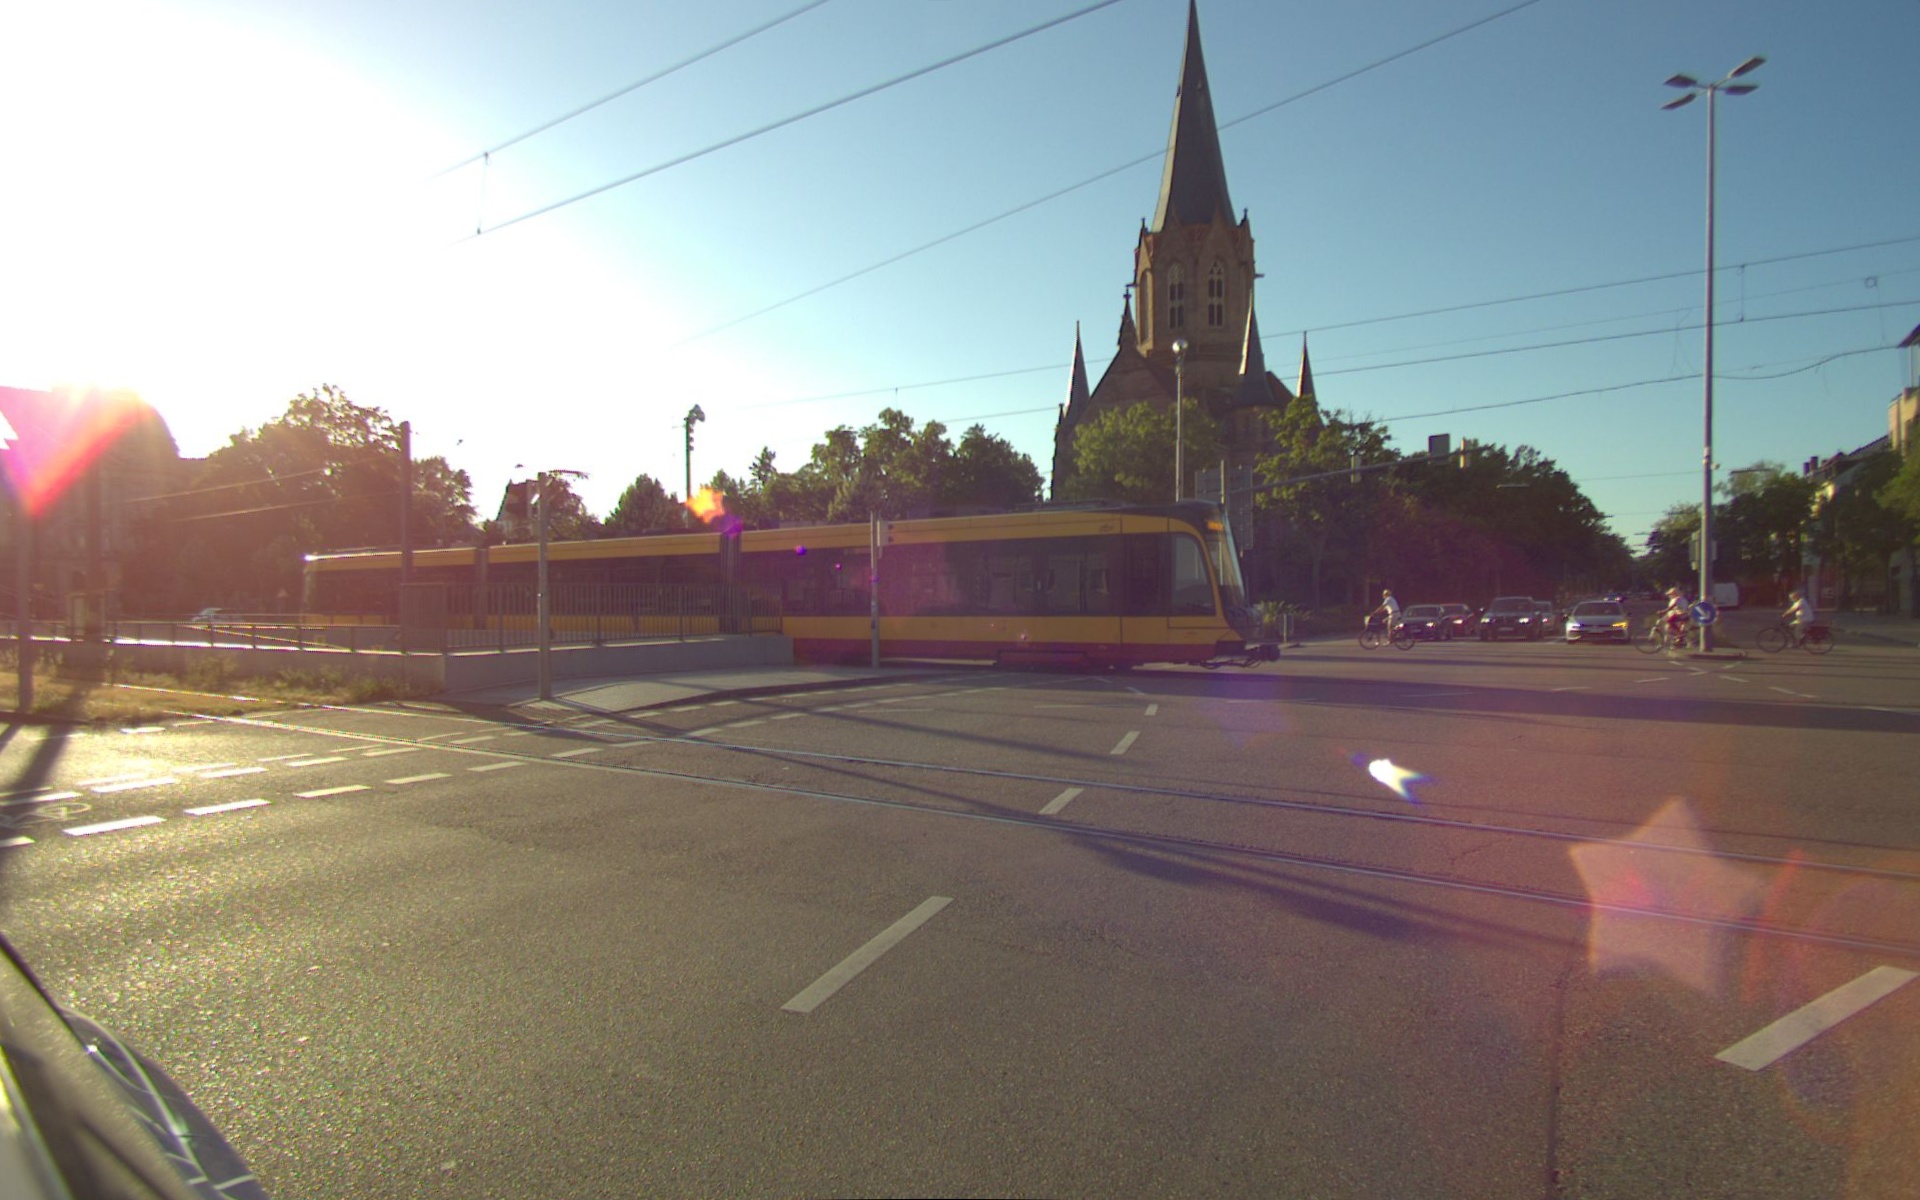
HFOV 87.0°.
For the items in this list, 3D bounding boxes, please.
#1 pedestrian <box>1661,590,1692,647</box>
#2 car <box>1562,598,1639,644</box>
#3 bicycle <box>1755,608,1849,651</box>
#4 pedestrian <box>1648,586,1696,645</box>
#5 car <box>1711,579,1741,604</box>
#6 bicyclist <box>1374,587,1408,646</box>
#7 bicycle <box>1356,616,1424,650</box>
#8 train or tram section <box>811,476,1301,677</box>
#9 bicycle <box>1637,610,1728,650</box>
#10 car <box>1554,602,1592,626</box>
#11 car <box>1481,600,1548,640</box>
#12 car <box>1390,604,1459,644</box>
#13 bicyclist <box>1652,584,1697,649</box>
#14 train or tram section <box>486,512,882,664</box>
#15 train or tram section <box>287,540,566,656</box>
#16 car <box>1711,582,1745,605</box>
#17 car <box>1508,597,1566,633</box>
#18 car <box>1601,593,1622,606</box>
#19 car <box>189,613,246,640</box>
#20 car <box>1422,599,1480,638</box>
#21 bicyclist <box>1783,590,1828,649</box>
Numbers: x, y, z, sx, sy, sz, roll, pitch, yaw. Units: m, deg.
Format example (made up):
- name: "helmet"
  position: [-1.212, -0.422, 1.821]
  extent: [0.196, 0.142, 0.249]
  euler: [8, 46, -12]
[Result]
- name: "pedestrian"
  position: [21.384, 0.549, 30.213]
  extent: [0.716, 1.685, 0.729]
  euler: [-1, 0, 37]
- name: "car"
  position: [22.022, 0.689, 34.729]
  extent: [1.899, 1.431, 3.950]
  euler: [-1, 0, 37]
- name: "bicycle"
  position: [23.265, 0.827, 27.999]
  extent: [1.911, 1.155, 0.455]
  euler: [-1, 1, 29]
- name: "pedestrian"
  position: [20.840, 0.456, 29.604]
  extent: [1.103, 1.685, 0.729]
  euler: [-1, 0, 37]
- name: "car"
  position: [72.804, -0.820, 96.202]
  extent: [1.995, 2.361, 3.953]
  euler: [-1, 0, 34]
- name: "bicyclist"
  position: [13.653, 0.528, 32.053]
  extent: [0.892, 1.841, 0.568]
  euler: [-1, 1, 34]
- name: "bicycle"
  position: [13.625, 1.039, 32.106]
  extent: [1.925, 1.034, 0.519]
  euler: [-1, 1, 34]
- name: "train or tram section"
  position: [1.655, -0.355, 21.997]
  extent: [10.541, 3.562, 2.751]
  euler: [-1, 0, 34]
- name: "bicycle"
  position: [19.267, 0.795, 27.003]
  extent: [1.929, 1.034, 0.453]
  euler: [-1, 1, 41]
- name: "car"
  position: [39.216, 0.877, 64.712]
  extent: [1.897, 1.431, 3.954]
  euler: [-1, 0, 34]
- name: "car"
  position: [21.293, 0.745, 38.804]
  extent: [1.897, 1.431, 3.954]
  euler: [-1, 0, 34]
- name: "car"
  position: [18.649, 0.931, 40.565]
  extent: [1.897, 1.431, 3.954]
  euler: [-1, 0, 34]
- name: "bicyclist"
  position: [19.139, 0.430, 27.112]
  extent: [0.894, 1.693, 0.567]
  euler: [-1, 1, 42]
- name: "train or tram section"
  position: [-8.283, -0.194, 28.570]
  extent: [13.214, 3.562, 2.751]
  euler: [-1, 0, 34]
- name: "train or tram section"
  position: [-19.278, 0.008, 35.903]
  extent: [13.214, 3.562, 2.751]
  euler: [-1, 0, 34]
- name: "car"
  position: [73.022, -0.632, 96.295]
  extent: [2.226, 2.029, 4.550]
  euler: [-1, 0, 33]
- name: "car"
  position: [25.036, 0.635, 43.836]
  extent: [1.897, 1.431, 3.954]
  euler: [-1, 0, 34]
- name: "car"
  position: [89.124, -0.085, 138.413]
  extent: [1.990, 1.785, 3.964]
  euler: [-1, 0, 27]
- name: "car"
  position: [-45.221, 1.614, 61.612]
  extent: [3.664, 1.552, 1.696]
  euler: [-1, 0, 35]
- name: "car"
  position: [21.777, 0.796, 44.812]
  extent: [1.820, 1.597, 3.955]
  euler: [-1, 0, 33]
- name: "bicyclist"
  position: [23.343, 0.529, 27.950]
  extent: [0.817, 1.595, 0.516]
  euler: [-1, 1, 28]
